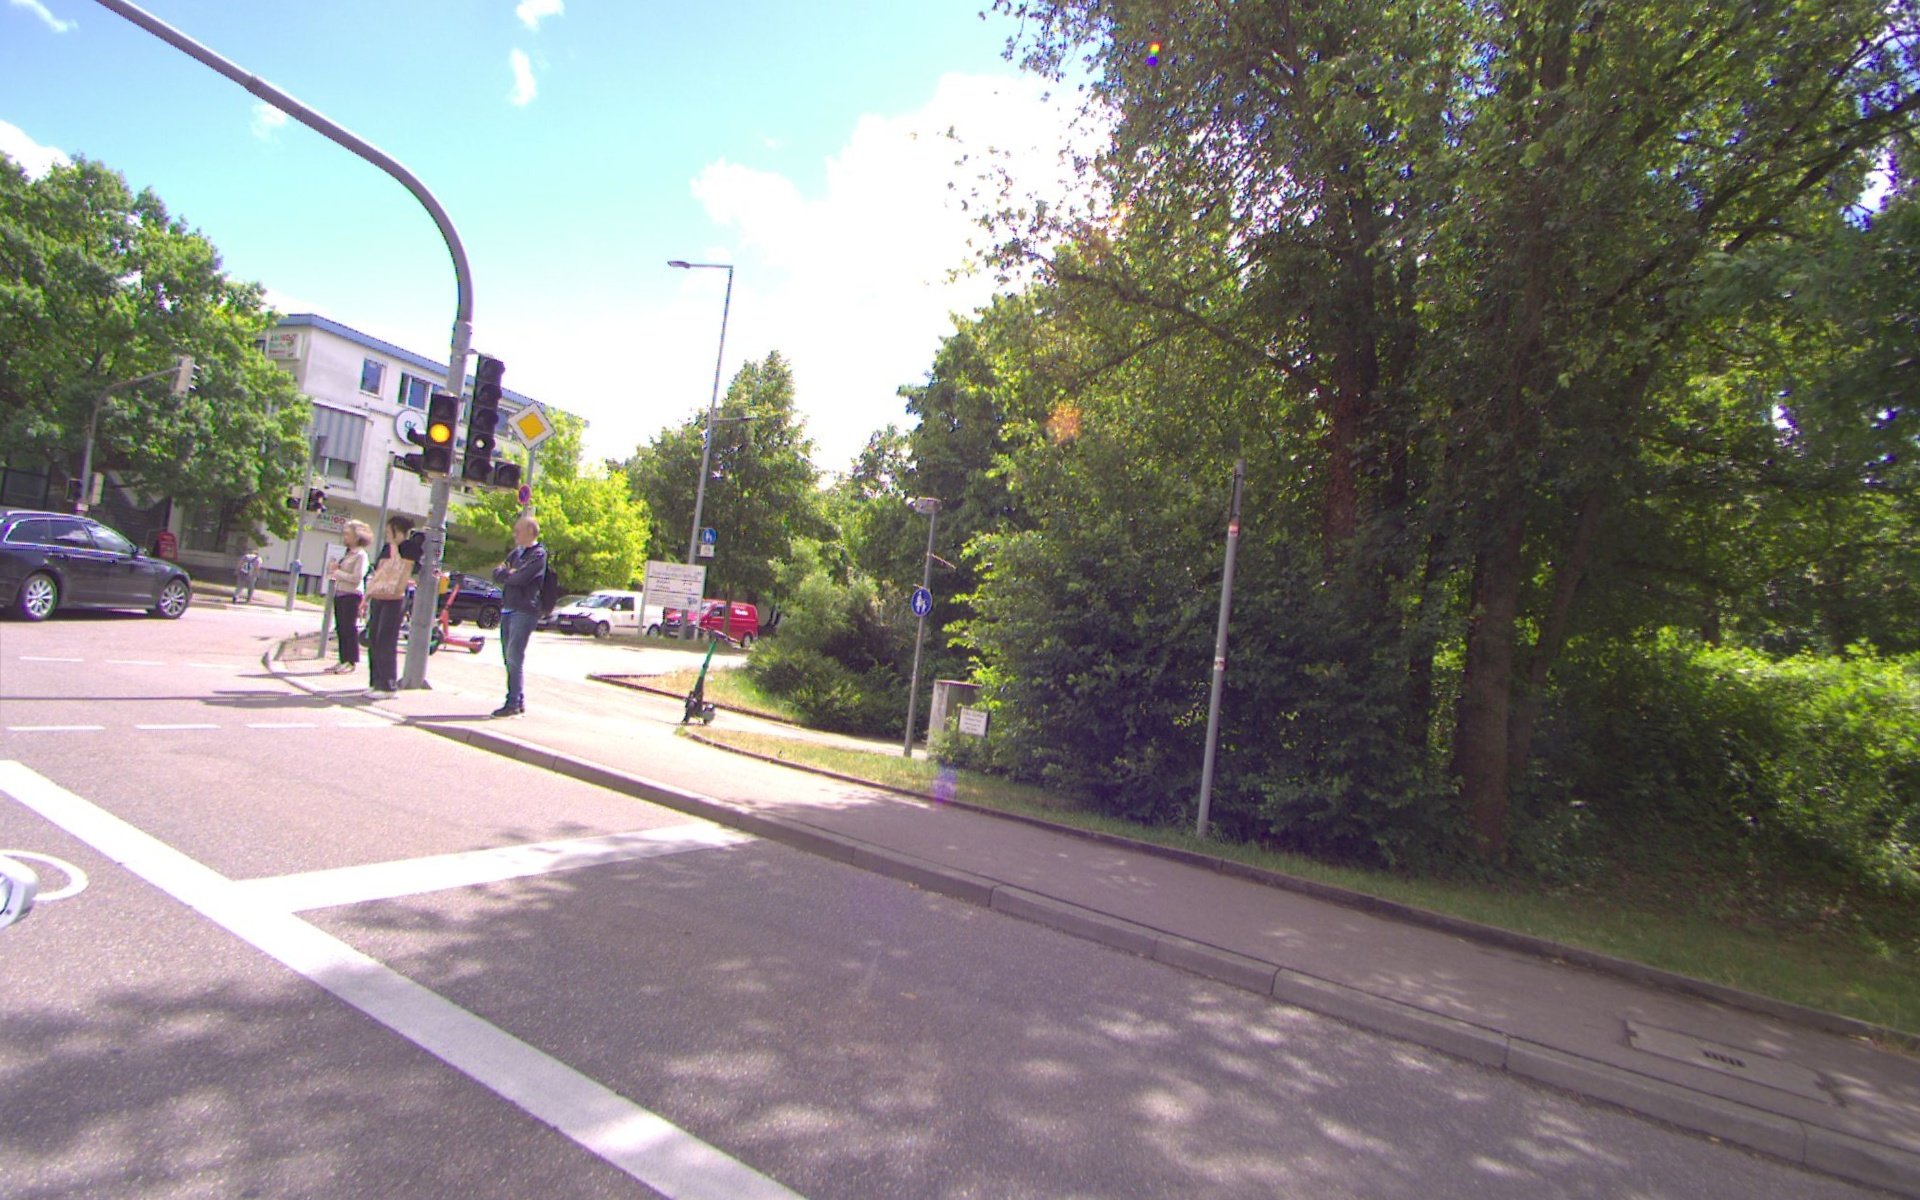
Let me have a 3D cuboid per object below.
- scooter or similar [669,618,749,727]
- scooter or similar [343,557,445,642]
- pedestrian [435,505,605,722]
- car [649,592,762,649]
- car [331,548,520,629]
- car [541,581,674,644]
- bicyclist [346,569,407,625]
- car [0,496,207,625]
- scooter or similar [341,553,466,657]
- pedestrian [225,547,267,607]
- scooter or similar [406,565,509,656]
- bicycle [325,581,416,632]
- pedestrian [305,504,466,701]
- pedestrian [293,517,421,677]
[{"bbox_3d":[-3.341,0.999,13.524,0.706,1.287,1.243,10,-7,-7],"label":"scooter or similar"},{"bbox_3d":[-8.938,0.023,15.942,0.533,1.168,1.362,9,-3,7],"label":"scooter or similar"},{"bbox_3d":[-4.304,0.152,9.891,0.881,1.964,0.968,7,-1,28],"label":"pedestrian"},{"bbox_3d":[-10.609,0.900,42.356,1.964,1.885,4.822,5,-3,23],"label":"car"},{"bbox_3d":[-15.798,-0.279,30.021,1.964,1.737,4.574,7,-2,25],"label":"car"},{"bbox_3d":[-12.936,0.513,37.236,1.963,1.737,4.576,7,-2,23],"label":"car"},{"bbox_3d":[-12.355,-0.061,21.299,0.625,1.034,0.794,7,-2,29],"label":"bicyclist"},{"bbox_3d":[-13.077,-0.575,14.159,1.967,1.571,4.516,7,-2,-10],"label":"car"},{"bbox_3d":[-7.878,0.093,14.278,0.455,1.292,1.344,8,-1,38],"label":"scooter or similar"},{"bbox_3d":[-21.306,-0.684,30.032,0.763,1.662,0.900,8,-2,-31],"label":"pedestrian"},{"bbox_3d":[-7.928,0.186,15.910,0.547,1.254,1.231,8,-3,23],"label":"scooter or similar"},{"bbox_3d":[-12.524,0.144,21.375,1.777,0.828,0.794,7,-2,29],"label":"bicycle"},{"bbox_3d":[-5.665,0.043,9.963,0.758,1.787,0.936,7,0,20],"label":"pedestrian"},{"bbox_3d":[-6.929,-0.035,11.558,0.950,1.694,0.860,7,-1,-43],"label":"pedestrian"}]
